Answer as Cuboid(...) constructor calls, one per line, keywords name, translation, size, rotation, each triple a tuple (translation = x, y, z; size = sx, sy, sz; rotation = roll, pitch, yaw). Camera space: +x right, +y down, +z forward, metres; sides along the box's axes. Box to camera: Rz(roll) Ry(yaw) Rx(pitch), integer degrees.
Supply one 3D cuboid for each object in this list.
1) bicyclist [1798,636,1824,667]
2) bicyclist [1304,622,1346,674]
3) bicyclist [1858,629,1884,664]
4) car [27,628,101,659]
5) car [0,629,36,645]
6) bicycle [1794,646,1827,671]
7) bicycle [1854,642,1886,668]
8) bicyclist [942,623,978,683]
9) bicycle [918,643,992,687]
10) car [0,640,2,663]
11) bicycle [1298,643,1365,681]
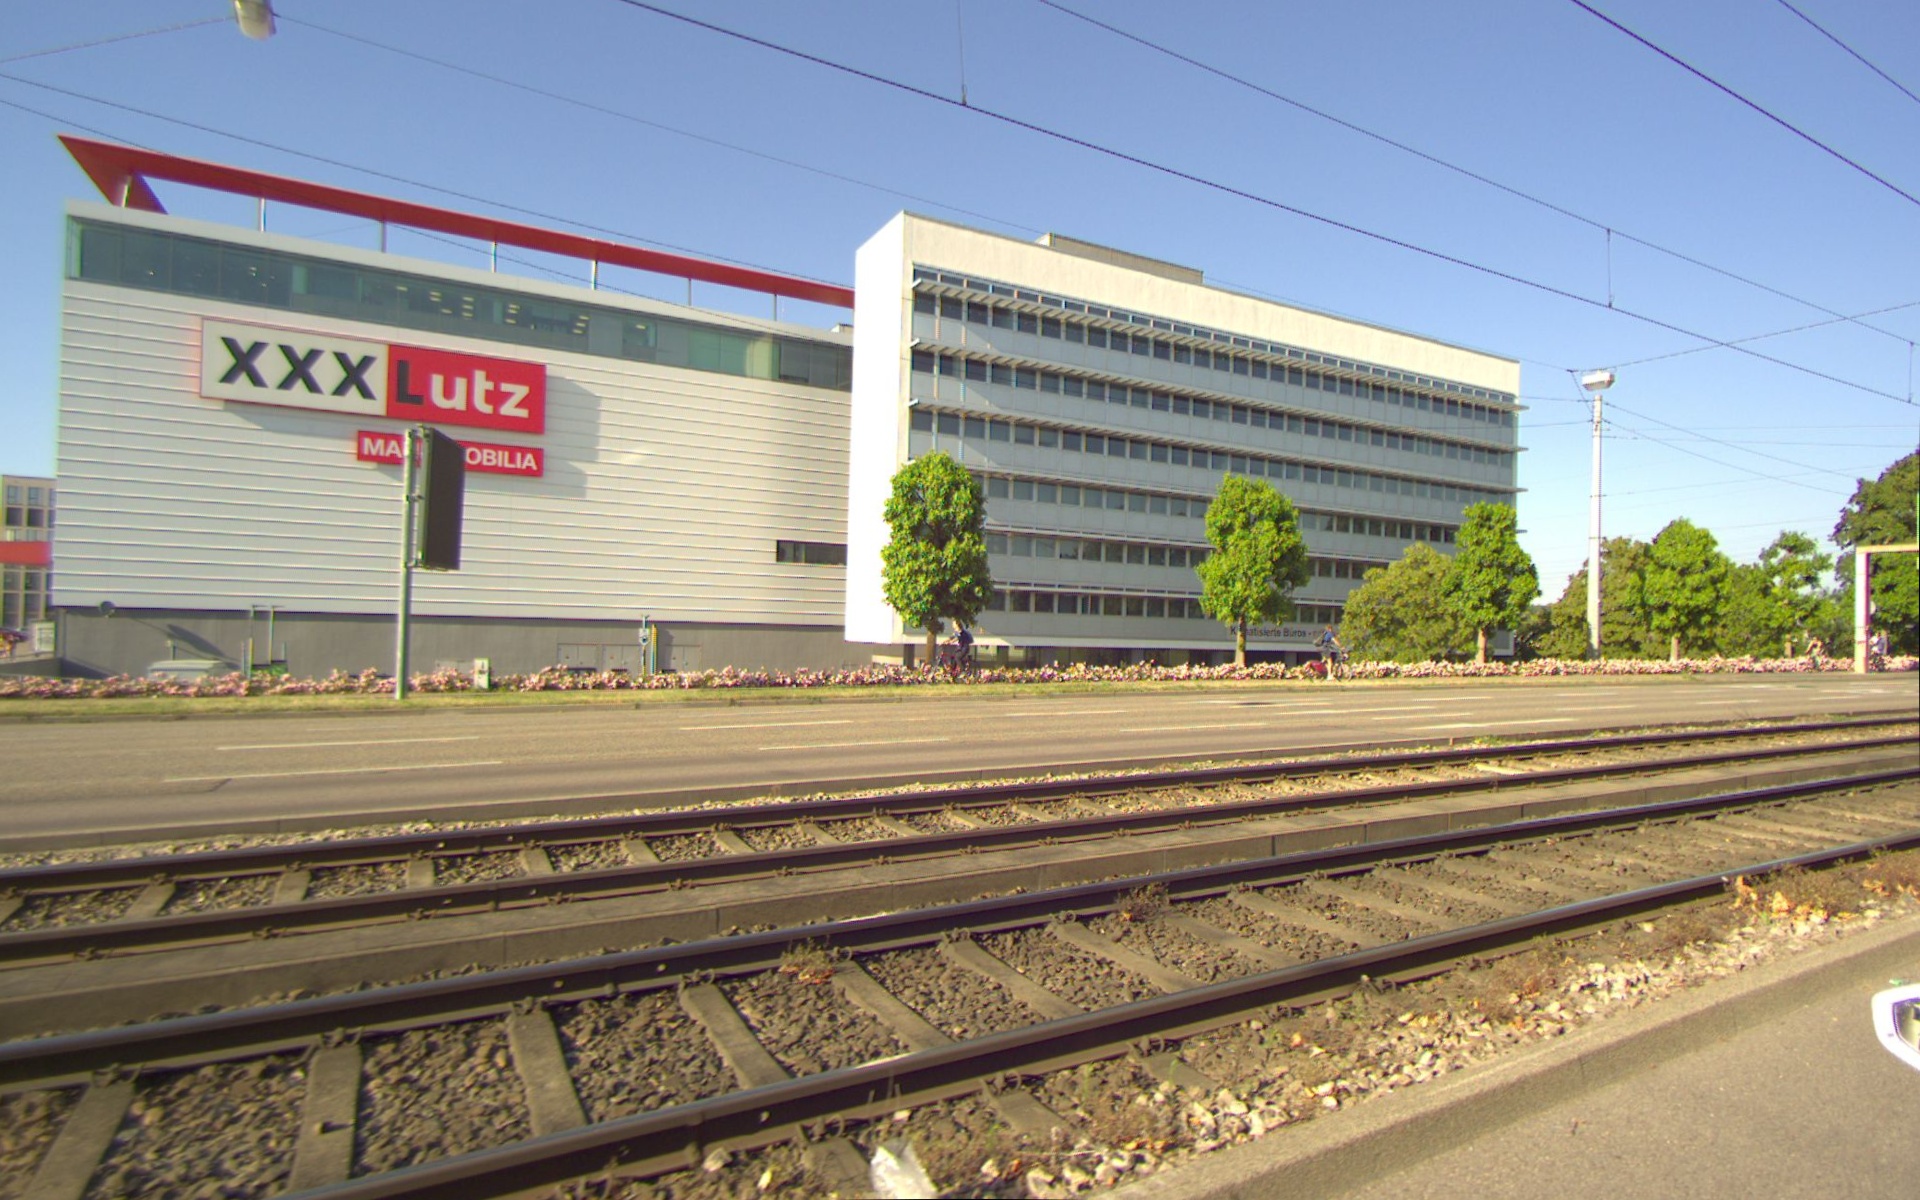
Cuboid(name="bicyclist", translation=(39.841, 2.413, 47.013), size=(0.870, 1.392, 0.622), rotation=(1, 1, -30))
Cuboid(name="bicyclist", translation=(11.324, 1.484, 31.208), size=(0.956, 1.532, 0.703), rotation=(1, 1, -23))
Cuboid(name="bicyclist", translation=(45.341, 2.328, 50.001), size=(0.951, 1.681, 0.600), rotation=(1, 1, -28))
Cuboid(name="car", translation=(-57.619, 2.791, 64.615), size=(3.248, 1.880, 1.500), rotation=(1, 1, -28))
Cuboid(name="car", translation=(-90.481, 3.528, 95.384), size=(3.618, 1.387, 1.648), rotation=(1, 1, -26))
Cuboid(name="bicycle", translation=(39.806, 2.725, 47.004), size=(1.683, 1.073, 0.622), rotation=(1, 1, -30))
Cuboid(name="bicycle", translation=(45.301, 2.748, 49.998), size=(1.726, 1.235, 0.600), rotation=(1, 1, -28))
Cuboid(name="bicyclist", translation=(-0.002, 1.517, 28.815), size=(0.789, 1.645, 0.660), rotation=(1, 1, -21))
Cuboid(name="bicycle", translation=(-0.136, 1.860, 28.776), size=(1.992, 1.166, 0.660), rotation=(1, 1, -21))
Cuboid(name="car", translation=(-62.192, 3.257, 62.362), size=(3.620, 1.387, 1.647), rotation=(1, 1, -28))
Cuboid(name="bicycle", translation=(11.586, 1.928, 31.332), size=(1.999, 1.088, 0.703), rotation=(1, 1, -24))
